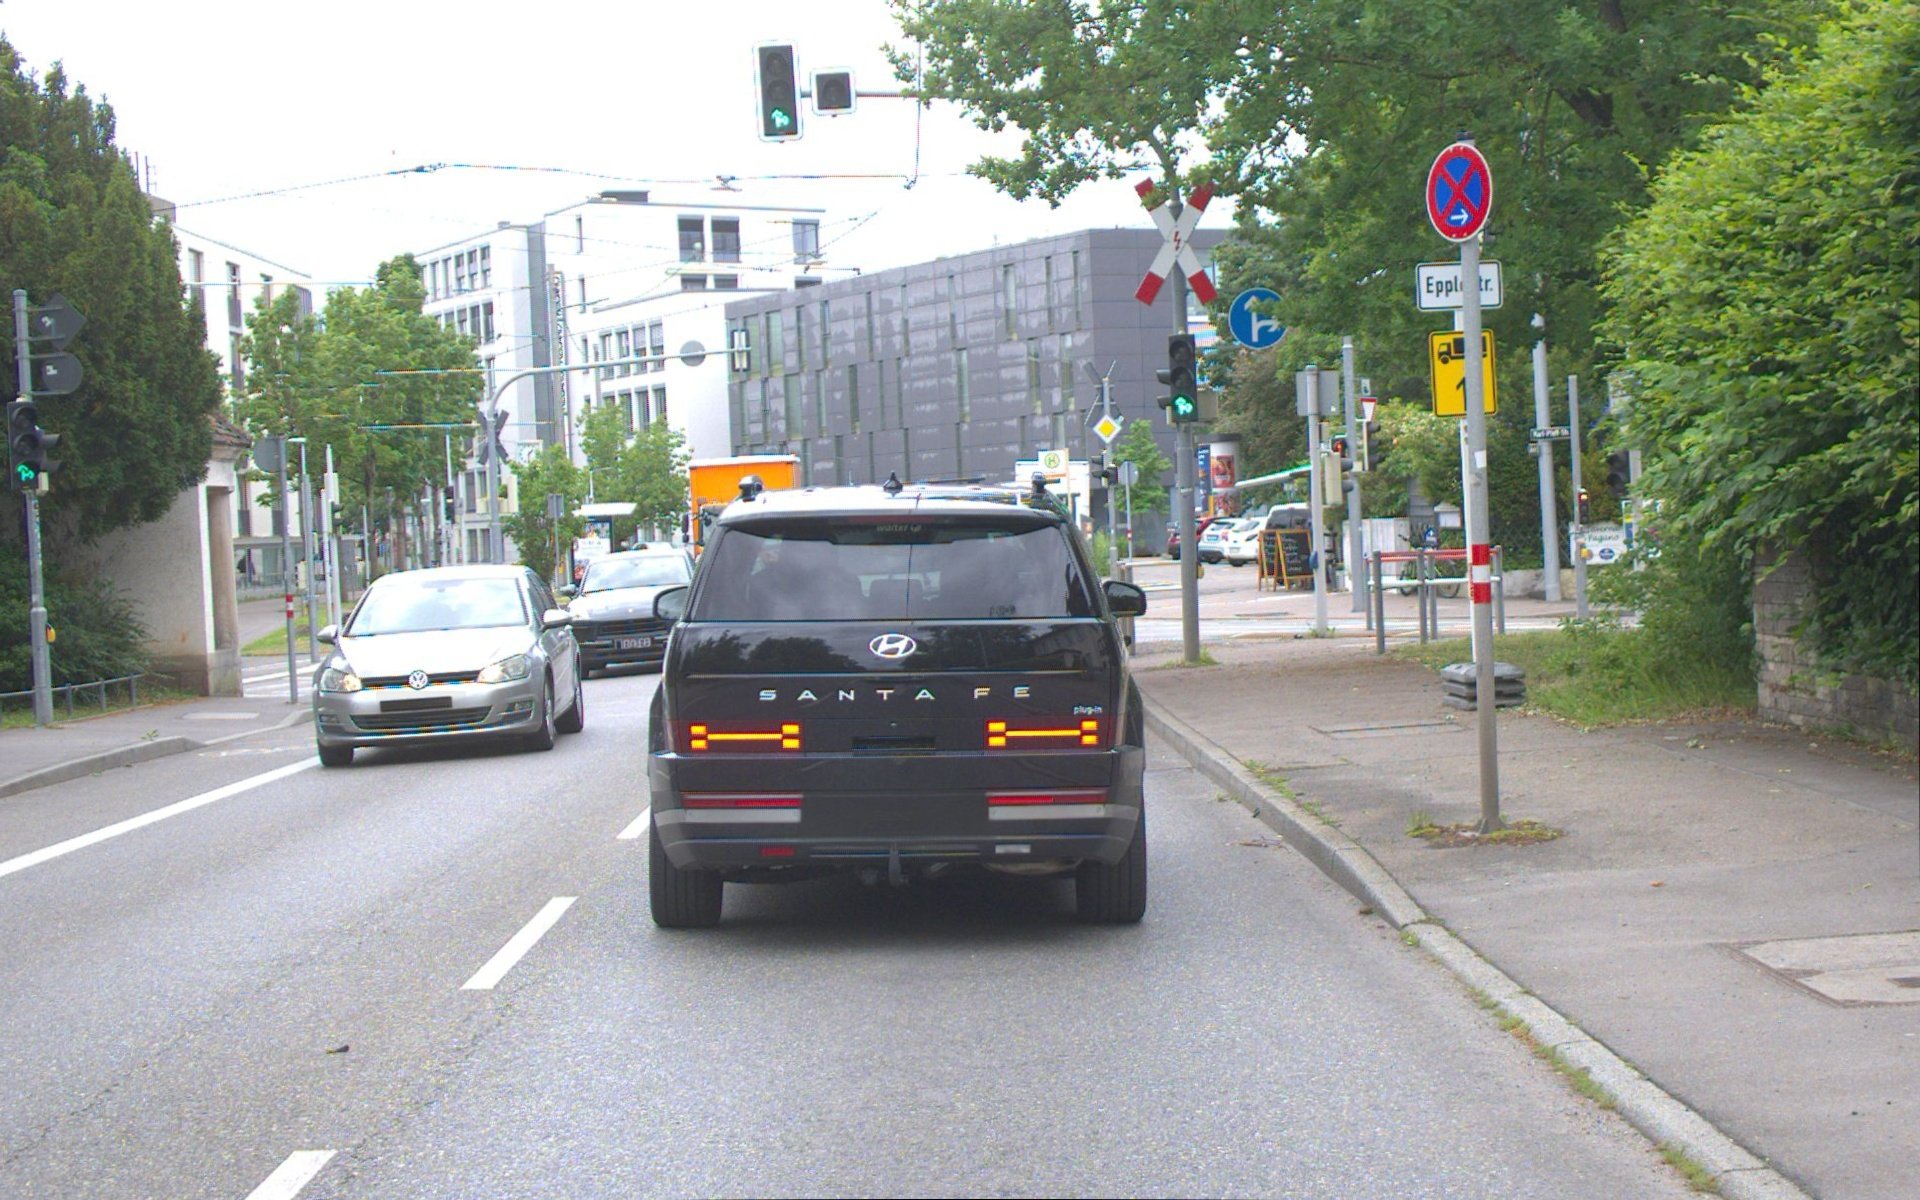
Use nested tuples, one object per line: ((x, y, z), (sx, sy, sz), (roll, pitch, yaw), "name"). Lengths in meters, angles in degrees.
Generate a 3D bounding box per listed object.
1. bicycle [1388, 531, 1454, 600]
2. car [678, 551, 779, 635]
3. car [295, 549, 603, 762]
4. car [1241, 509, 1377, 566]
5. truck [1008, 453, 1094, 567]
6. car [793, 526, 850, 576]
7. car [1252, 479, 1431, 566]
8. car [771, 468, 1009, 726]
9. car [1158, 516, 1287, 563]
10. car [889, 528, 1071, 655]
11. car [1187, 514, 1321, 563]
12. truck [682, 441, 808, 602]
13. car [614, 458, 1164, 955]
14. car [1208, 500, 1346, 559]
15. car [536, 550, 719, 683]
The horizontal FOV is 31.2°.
((8.389, -0.635, 62.629), (0.548, 1.135, 1.879), (-2, 5, -13), "bicycle")
((-4.334, -0.153, 64.752), (1.664, 1.444, 3.828), (-2, 1, -1), "car")
((-3.990, 0.381, 27.480), (1.725, 1.457, 4.154), (-3, 1, 1), "car")
((9.711, -1.752, 95.613), (3.506, 1.373, 1.547), (-4, 3, -31), "car")
((2.946, -2.959, 113.005), (2.573, 3.513, 7.810), (-3, 1, 1), "truck")
((-4.866, -1.741, 121.166), (1.788, 1.656, 4.277), (-3, 1, -1), "car")
((8.749, -1.783, 78.548), (1.849, 1.742, 4.686), (-2, 2, 37), "car")
((-0.652, -0.085, 30.324), (1.855, 2.026, 4.438), (-3, 2, -2), "car")
((8.554, -1.972, 112.053), (3.790, 1.468, 1.798), (-1, 0, -25), "car")
((0.308, -0.144, 43.135), (1.994, 1.458, 4.519), (-1, 1, 4), "car")
((9.128, -1.918, 106.654), (3.791, 1.468, 1.798), (-1, 0, -30), "car")
((-5.308, -1.928, 86.153), (2.769, 3.706, 8.470), (-3, 1, -2), "truck")
((-0.350, 0.326, 14.204), (1.915, 1.719, 4.171), (-1, 1, -3), "car")
((9.292, -2.057, 100.723), (3.638, 1.430, 1.592), (-5, 1, -27), "car")
((-4.409, 0.182, 46.235), (1.939, 1.526, 4.526), (-5, 1, 0), "car")
